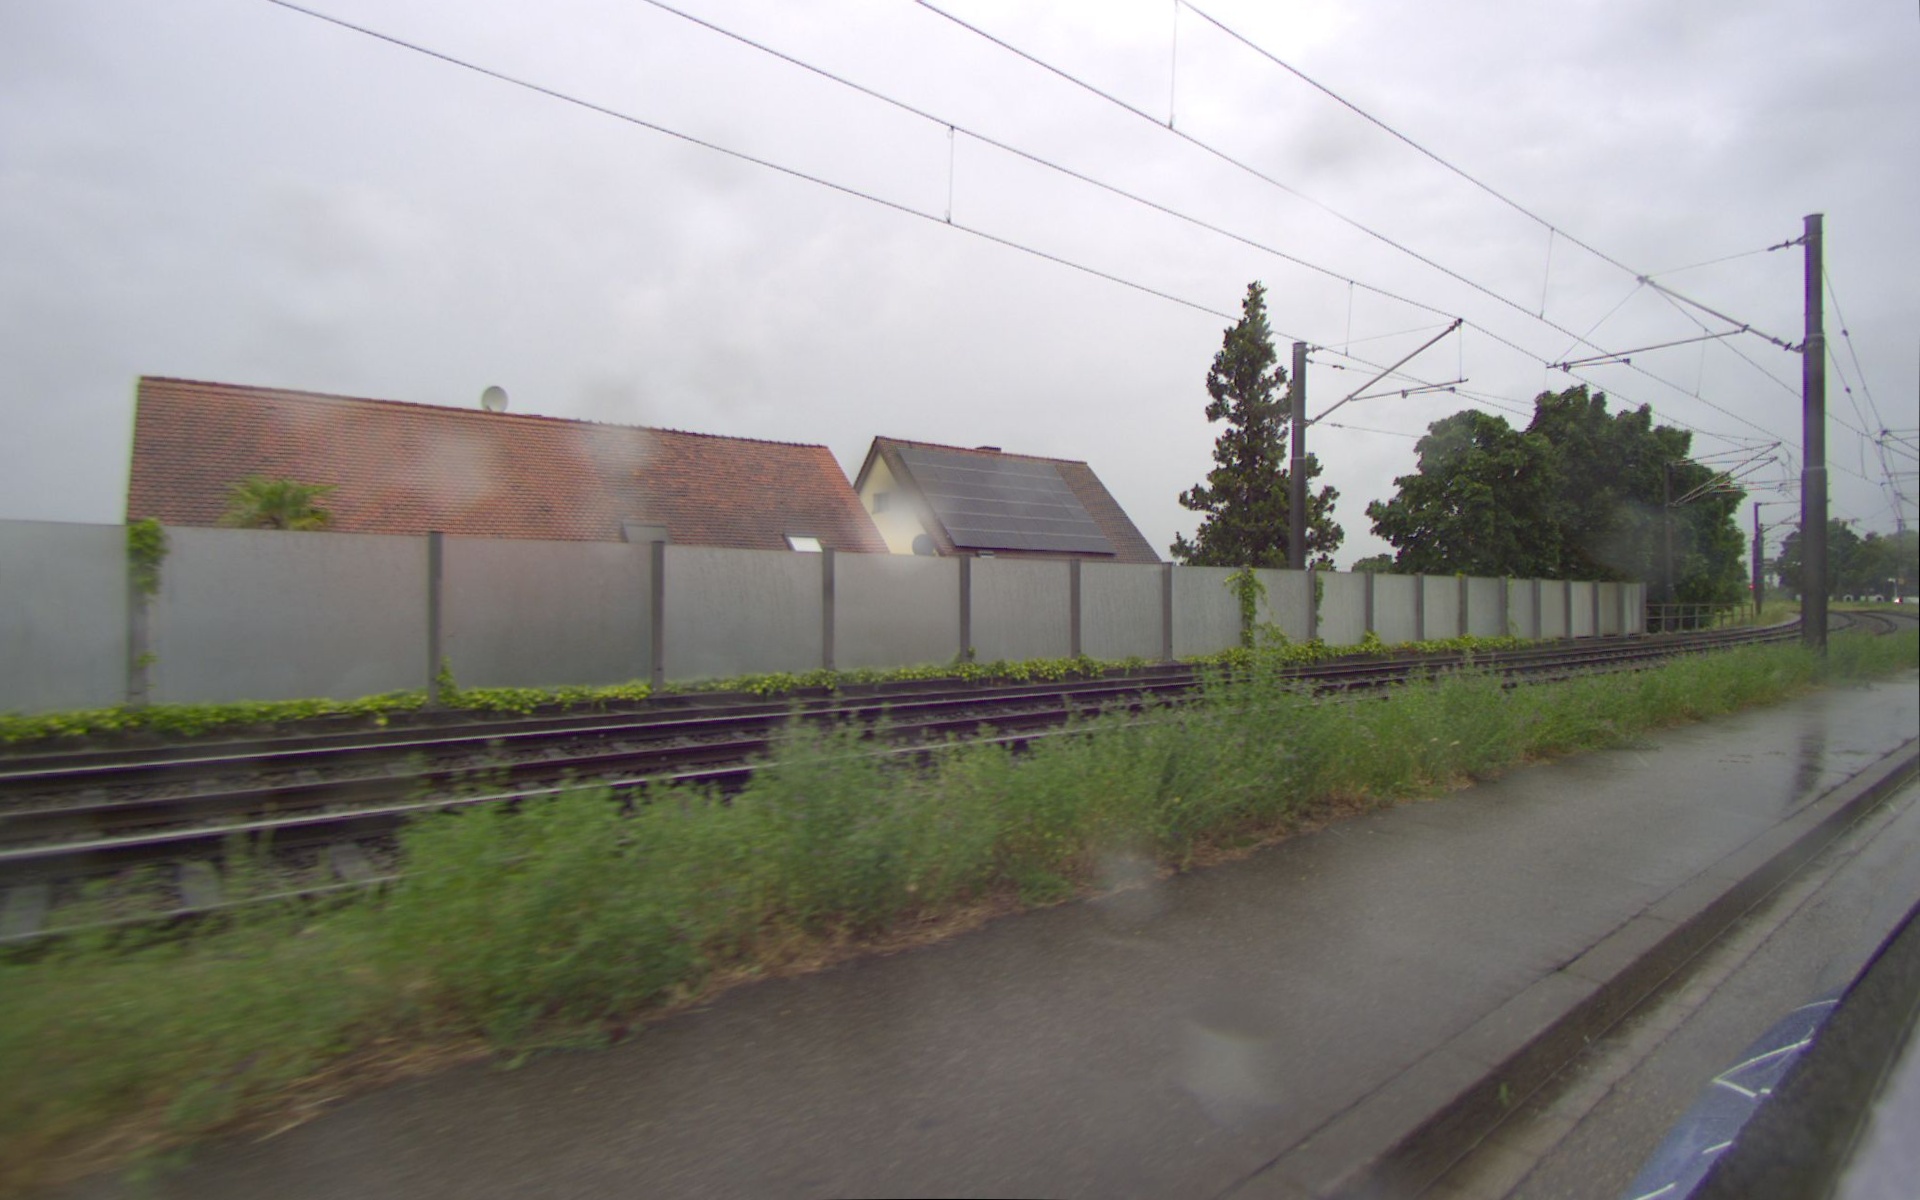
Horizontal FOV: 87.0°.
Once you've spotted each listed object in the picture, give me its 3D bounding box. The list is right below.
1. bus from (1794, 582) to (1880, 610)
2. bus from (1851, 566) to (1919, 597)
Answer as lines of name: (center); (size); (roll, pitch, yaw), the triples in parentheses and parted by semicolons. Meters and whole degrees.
bus: (103.140, -0.497, 119.311); (2.634, 3.116, 9.969); (-1, 0, 9)
bus: (101.103, -1.987, 109.561); (2.639, 3.116, 9.950); (-1, 0, 14)
